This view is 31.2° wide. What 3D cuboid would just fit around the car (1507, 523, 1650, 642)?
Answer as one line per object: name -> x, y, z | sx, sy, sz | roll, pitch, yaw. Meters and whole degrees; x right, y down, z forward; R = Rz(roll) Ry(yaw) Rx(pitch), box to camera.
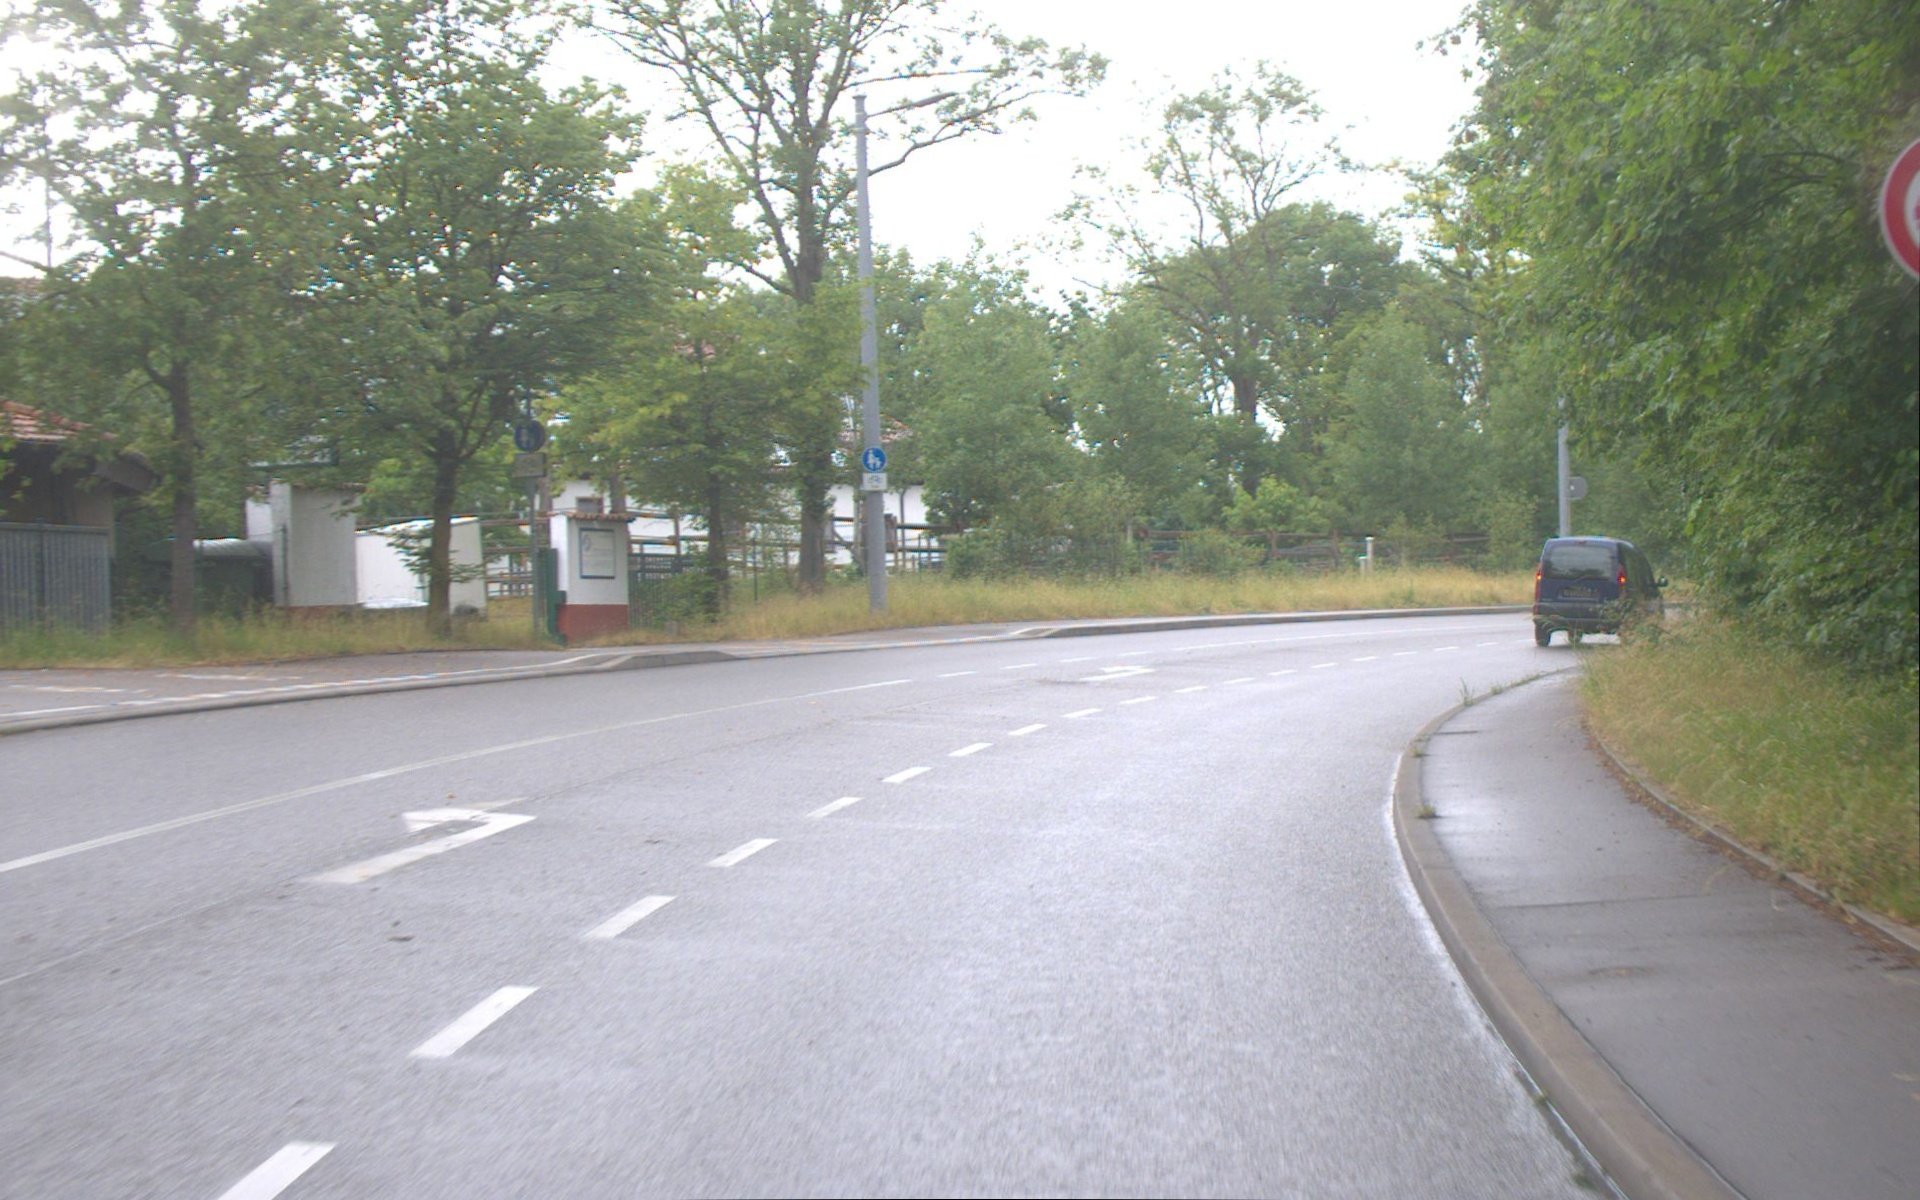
car -> 10.452, -0.299, 57.910 | 1.828, 1.788, 3.997 | -5, -1, 16
